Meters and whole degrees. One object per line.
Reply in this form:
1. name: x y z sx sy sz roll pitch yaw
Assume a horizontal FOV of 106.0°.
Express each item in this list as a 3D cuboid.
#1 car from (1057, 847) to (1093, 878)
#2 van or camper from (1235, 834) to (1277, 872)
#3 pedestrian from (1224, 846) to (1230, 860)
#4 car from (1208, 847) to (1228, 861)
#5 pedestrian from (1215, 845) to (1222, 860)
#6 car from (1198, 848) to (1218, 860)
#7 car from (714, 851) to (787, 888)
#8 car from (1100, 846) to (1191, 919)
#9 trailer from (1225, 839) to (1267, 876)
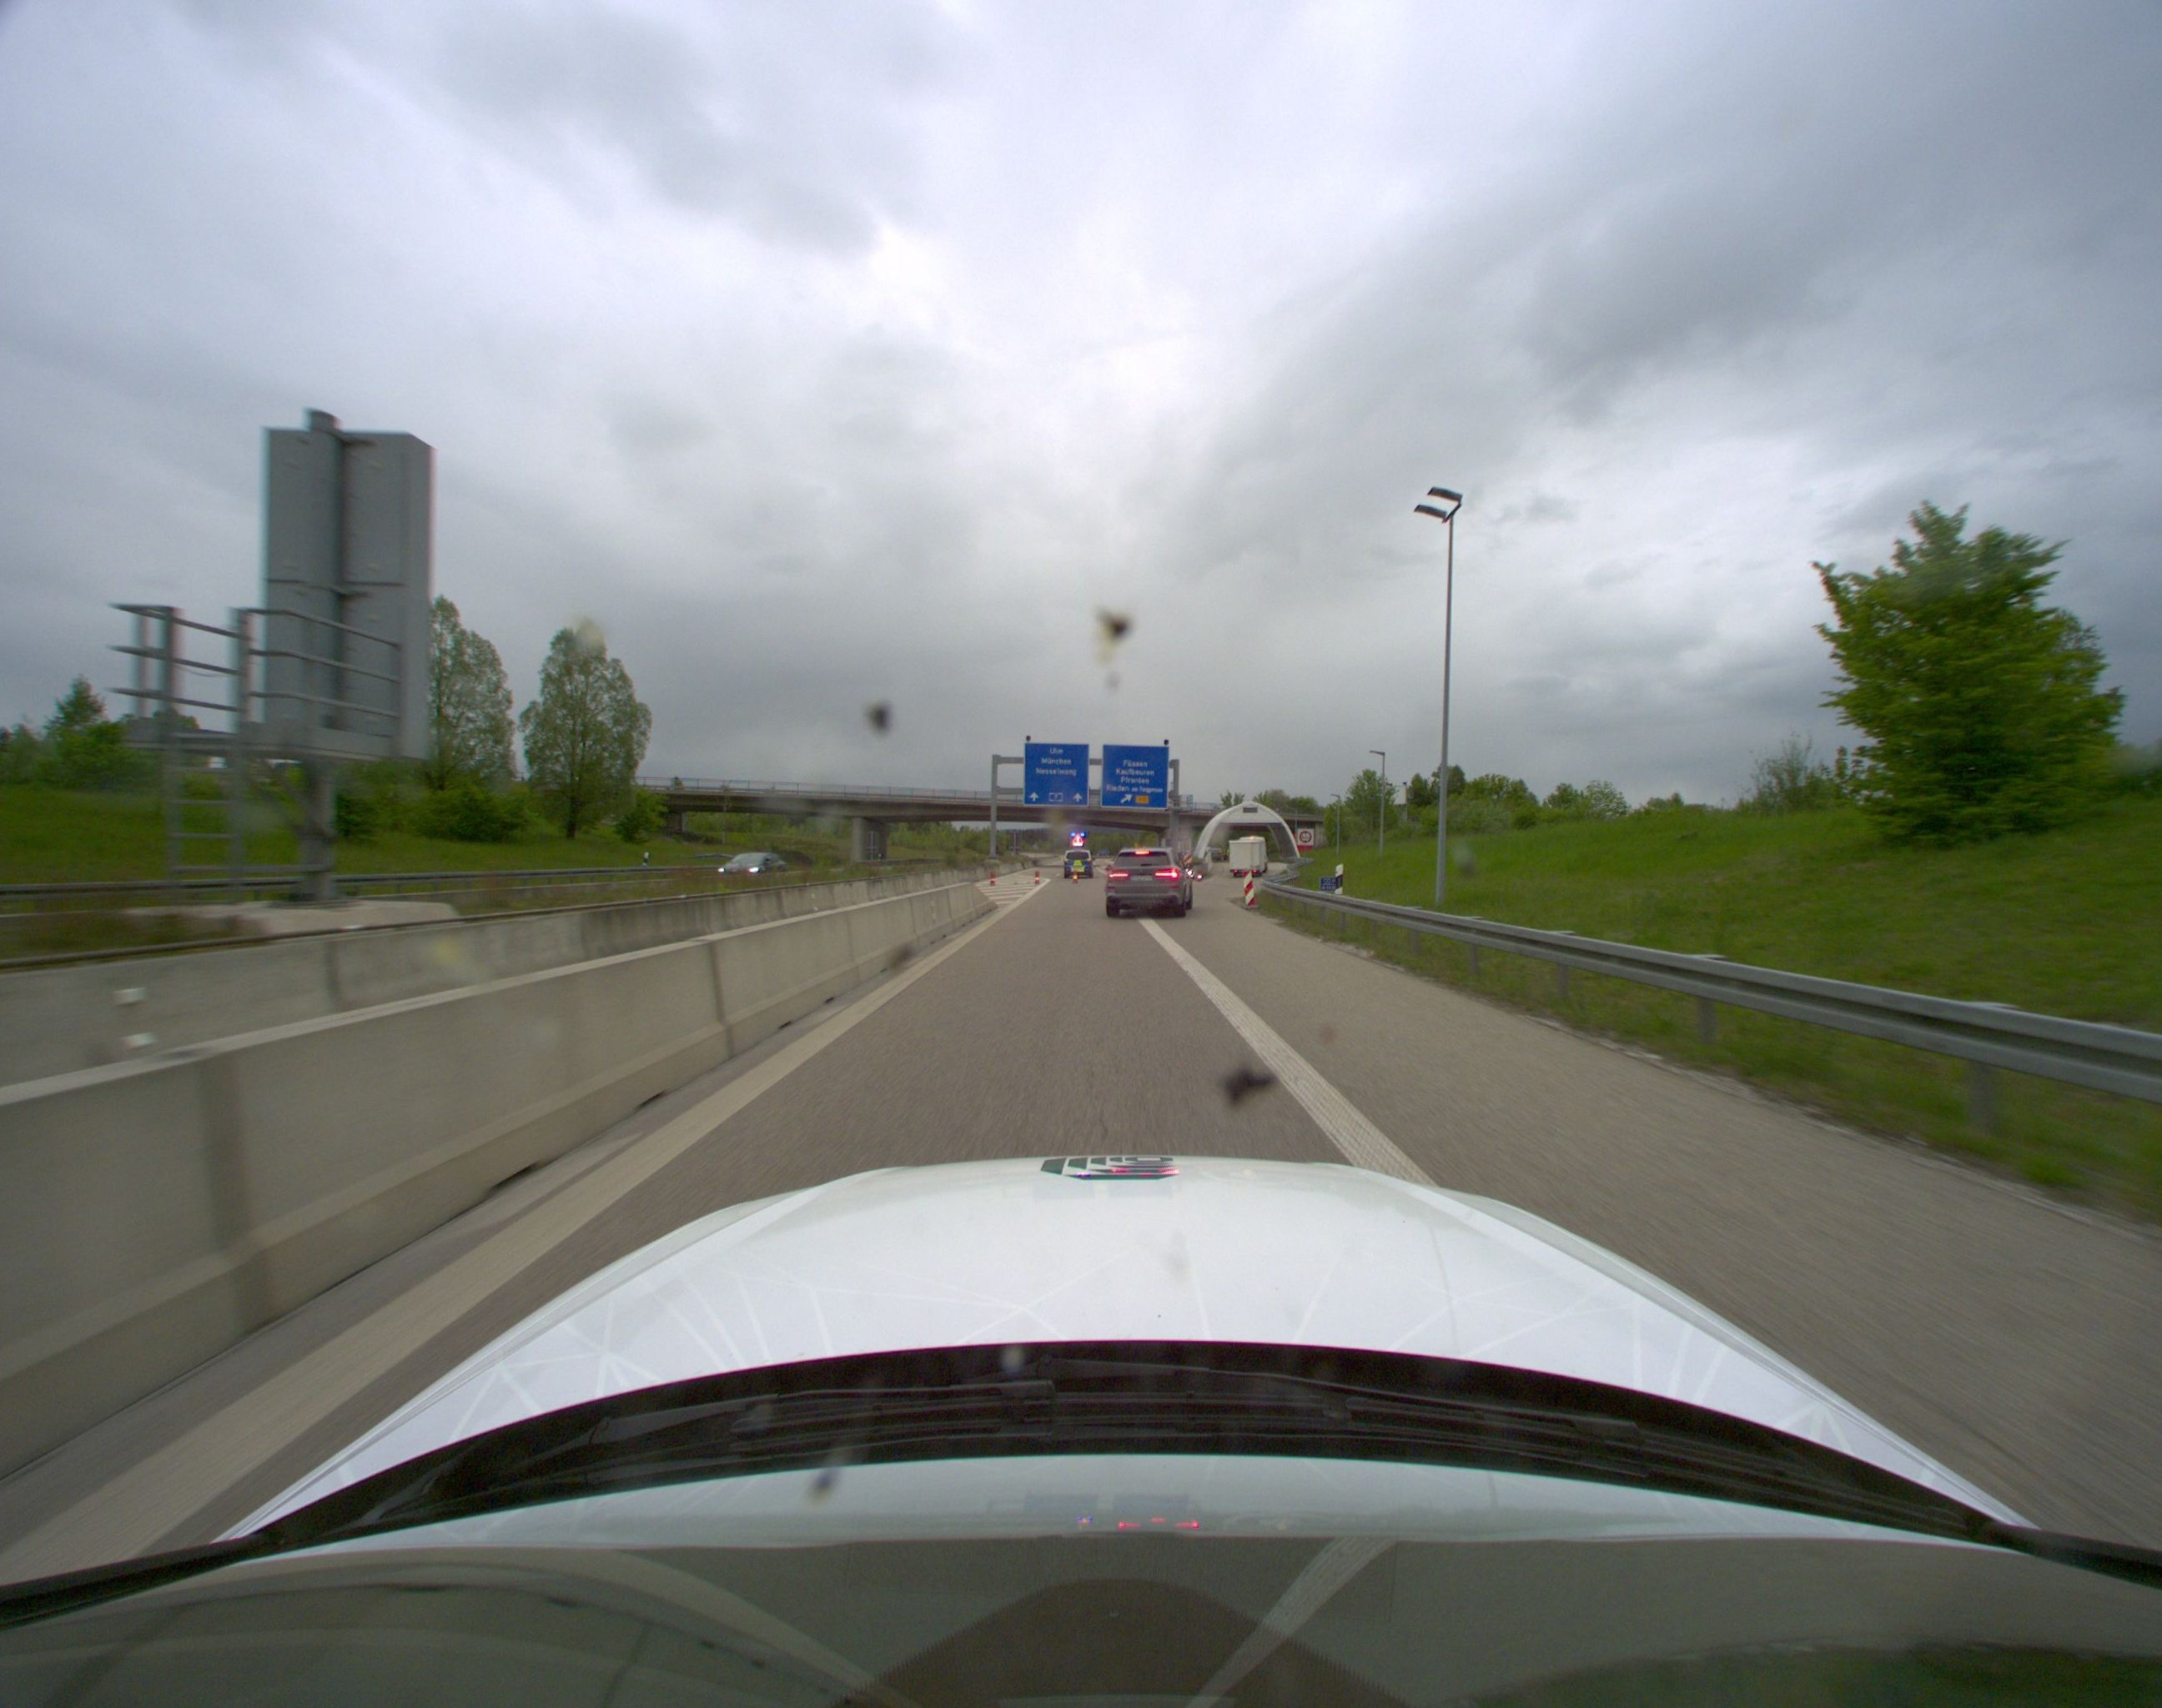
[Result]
1. car: -0.435 0.539 55.199 2.279 2.013 5.048 0 1 -1
2. van or camper: 13.581 -0.058 62.839 2.138 2.763 5.902 -1 -1 22
3. pedestrian: 18.717 -0.087 104.178 0.645 1.775 0.606 -1 0 2
4. car: 16.860 -0.002 100.449 1.984 1.772 3.770 -1 0 4
5. pedestrian: 17.601 -0.167 104.245 0.717 1.945 0.691 -1 0 4
6. car: 22.187 -0.053 142.552 1.997 2.013 3.980 -1 0 -15
7. car: -14.333 0.636 35.492 1.602 1.500 3.837 0 0 0
8. car: 1.794 0.675 21.390 1.981 1.719 4.011 -1 0 10
9. trailer: 11.572 0.254 56.759 2.261 2.430 6.847 -1 -1 17
